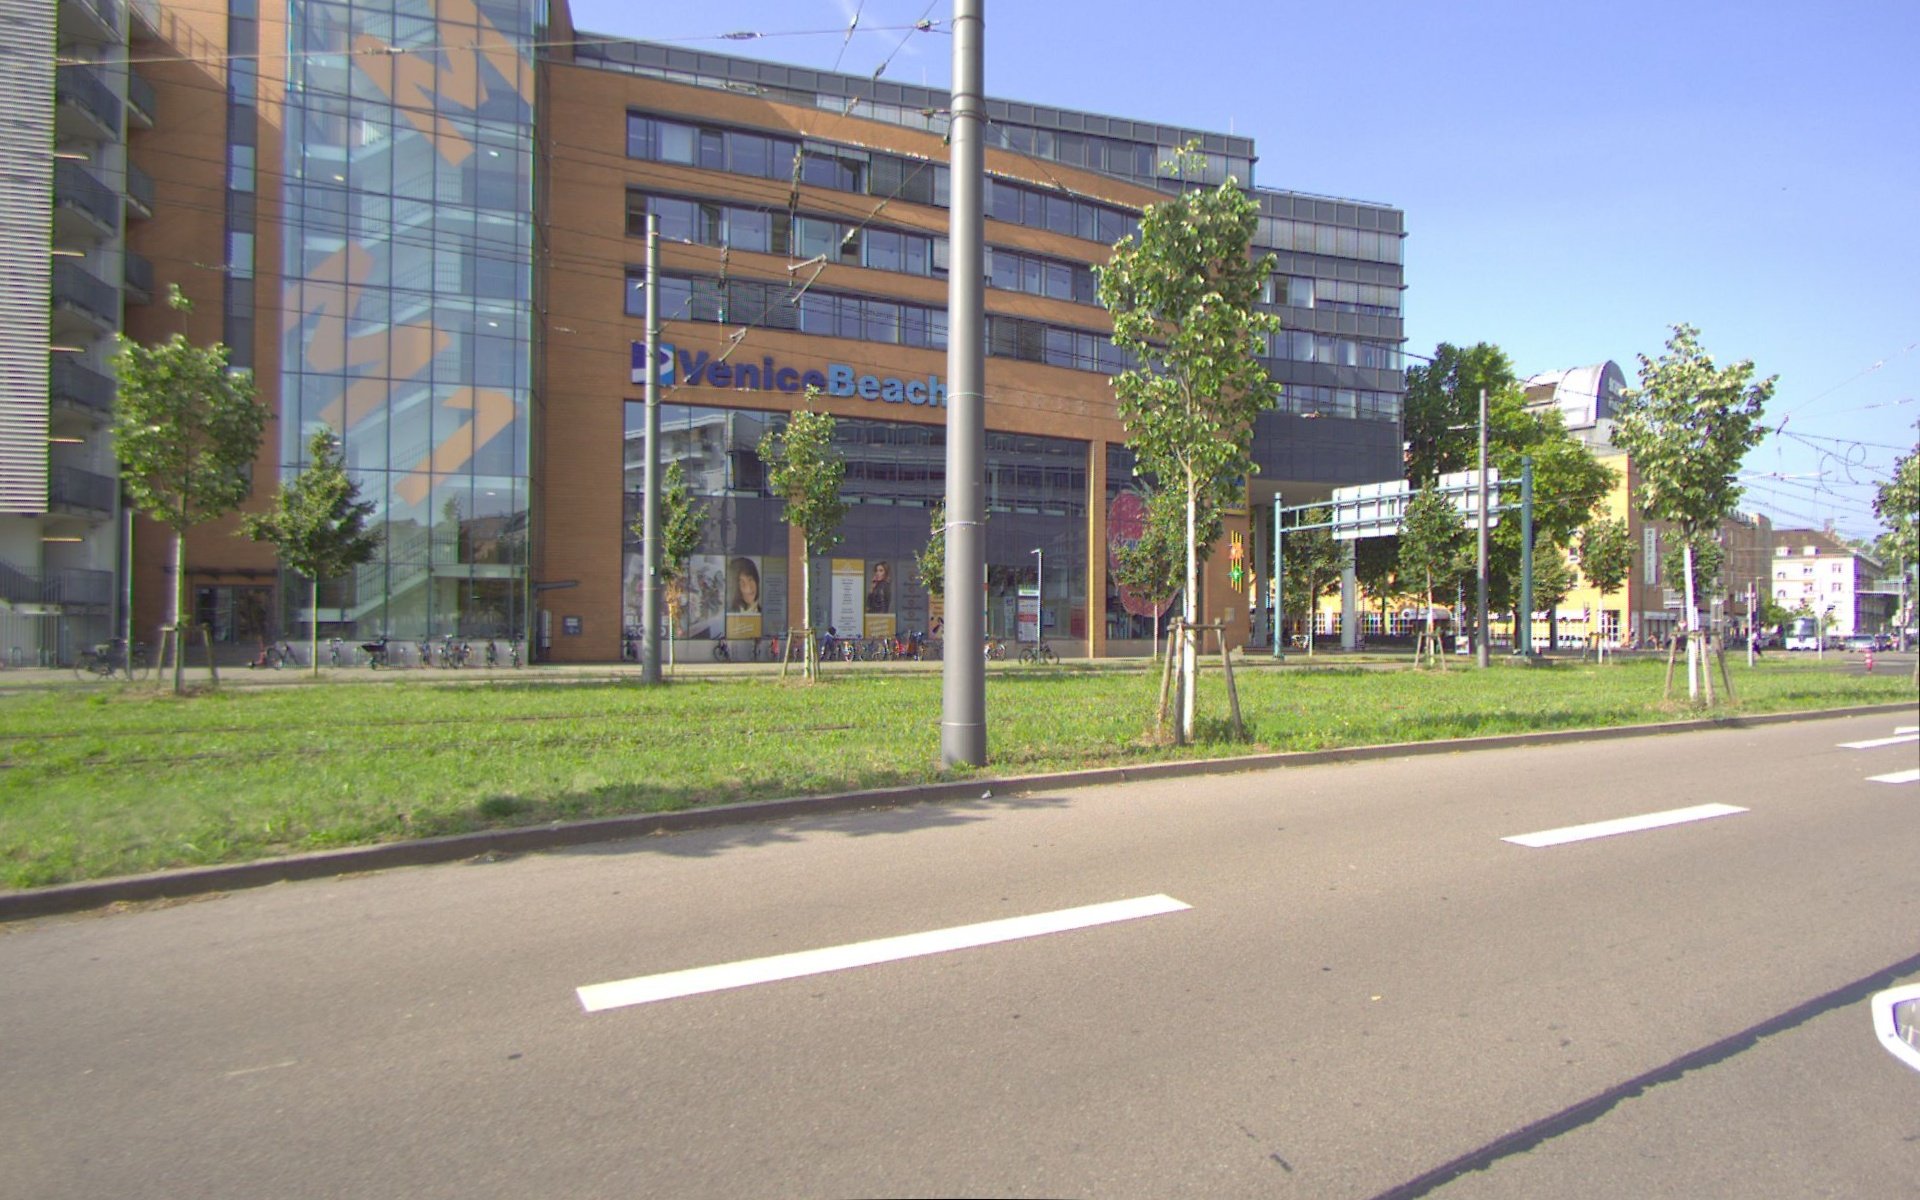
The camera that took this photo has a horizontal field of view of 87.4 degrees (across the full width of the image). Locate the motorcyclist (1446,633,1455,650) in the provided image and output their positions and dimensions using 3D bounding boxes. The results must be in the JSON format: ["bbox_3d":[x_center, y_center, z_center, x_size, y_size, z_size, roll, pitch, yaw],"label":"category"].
[{"bbox_3d":[39.310,3.327,80.471,0.415,1.339,0.526,1,-2,-40],"label":"motorcyclist"}]

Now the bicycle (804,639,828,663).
[{"bbox_3d":[-6.062,2.137,42.310,0.565,0.934,2.045,1,-1,-21],"label":"bicycle"}]

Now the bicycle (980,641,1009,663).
[{"bbox_3d":[1.576,2.370,45.702,0.565,0.934,2.045,1,-1,-21],"label":"bicycle"}]

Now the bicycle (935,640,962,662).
[{"bbox_3d":[-0.523,2.260,44.645,0.565,0.934,2.045,1,-1,-21],"label":"bicycle"}]

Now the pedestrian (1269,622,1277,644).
[{"bbox_3d":[29.184,3.109,93.678,0.535,2.040,0.485,3,-3,-40],"label":"pedestrian"}]

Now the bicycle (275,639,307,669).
[{"bbox_3d":[-22.019,1.768,33.069,0.404,0.952,1.578,1,-1,-17],"label":"bicycle"}]

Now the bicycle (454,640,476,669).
[{"bbox_3d":[-17.128,1.889,34.760,0.404,0.952,1.578,1,-1,-17],"label":"bicycle"}]

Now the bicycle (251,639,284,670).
[{"bbox_3d":[-22.613,1.759,32.824,0.404,0.952,1.578,1,-1,-17],"label":"bicycle"}]

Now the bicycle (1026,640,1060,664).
[{"bbox_3d":[3.376,2.098,40.908,0.699,0.919,1.672,2,-2,-21],"label":"bicycle"}]

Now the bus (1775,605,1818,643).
[{"bbox_3d":[91.955,2.658,110.356,2.718,3.973,12.142,-1,-2,44],"label":"bus"}]

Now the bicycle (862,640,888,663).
[{"bbox_3d":[-3.691,2.215,43.384,0.565,0.934,2.045,1,-1,-21],"label":"bicycle"}]

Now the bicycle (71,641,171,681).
[{"bbox_3d":[-22.601,1.638,27.091,2.123,1.001,0.445,2,-2,-7],"label":"bicycle"}]

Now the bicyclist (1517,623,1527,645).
[{"bbox_3d":[46.417,2.828,82.954,0.654,1.769,0.967,1,-2,24],"label":"bicyclist"}]

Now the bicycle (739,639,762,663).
[{"bbox_3d":[-8.608,2.071,41.223,0.565,0.934,2.045,1,-1,-21],"label":"bicycle"}]

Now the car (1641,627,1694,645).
[{"bbox_3d":[64.870,3.272,92.129,1.842,1.645,3.602,1,-2,-25],"label":"car"}]

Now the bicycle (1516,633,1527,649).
[{"bbox_3d":[46.401,3.383,82.955,0.539,1.222,2.287,1,-3,23],"label":"bicycle"}]

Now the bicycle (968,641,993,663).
[{"bbox_3d":[0.919,2.337,45.392,0.375,0.934,2.045,1,-1,-21],"label":"bicycle"}]

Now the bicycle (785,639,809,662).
[{"bbox_3d":[-6.828,2.099,41.992,0.565,0.934,2.045,1,-1,-21],"label":"bicycle"}]

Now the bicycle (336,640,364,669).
[{"bbox_3d":[-20.377,1.810,33.583,0.404,0.952,1.578,1,-1,-17],"label":"bicycle"}]

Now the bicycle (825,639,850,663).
[{"bbox_3d":[-5.225,2.159,42.654,0.565,0.934,2.045,1,-1,-21],"label":"bicycle"}]

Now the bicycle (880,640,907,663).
[{"bbox_3d":[-2.906,2.243,43.782,0.565,0.934,2.045,1,-1,-21],"label":"bicycle"}]

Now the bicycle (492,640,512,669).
[{"bbox_3d":[-15.887,1.879,34.882,0.404,0.952,1.578,1,-1,-17],"label":"bicycle"}]

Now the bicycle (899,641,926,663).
[{"bbox_3d":[-2.104,2.270,44.167,0.565,0.934,2.045,1,-1,-21],"label":"bicycle"}]

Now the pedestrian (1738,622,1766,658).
[{"bbox_3d":[45.436,2.310,57.637,0.770,2.040,1.145,3,-3,-41],"label":"pedestrian"}]

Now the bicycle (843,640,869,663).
[{"bbox_3d":[-4.470,2.182,43.048,0.565,0.934,2.045,1,-1,-21],"label":"bicycle"}]

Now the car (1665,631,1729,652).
[{"bbox_3d":[62.912,3.490,85.759,1.972,1.700,3.979,3,-3,-23],"label":"car"}]

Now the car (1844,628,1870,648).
[{"bbox_3d":[79.904,3.404,89.480,1.666,1.656,4.368,-2,-1,42],"label":"car"}]

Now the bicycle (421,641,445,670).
[{"bbox_3d":[-18.044,1.887,34.421,0.404,0.952,1.578,1,-1,-17],"label":"bicycle"}]

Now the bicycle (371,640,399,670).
[{"bbox_3d":[-19.317,1.841,33.768,0.465,0.952,1.578,1,-1,-17],"label":"bicycle"}]

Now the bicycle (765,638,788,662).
[{"bbox_3d":[-7.600,2.045,41.611,0.565,0.934,2.045,1,-1,-21],"label":"bicycle"}]

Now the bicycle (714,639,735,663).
[{"bbox_3d":[-9.550,2.053,40.747,0.565,0.934,2.045,1,-1,-21],"label":"bicycle"}]

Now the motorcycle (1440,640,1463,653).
[{"bbox_3d":[39.338,3.734,80.422,0.282,1.008,1.676,1,-2,-39],"label":"motorcycle"}]

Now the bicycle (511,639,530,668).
[{"bbox_3d":[-15.288,1.862,34.977,0.404,0.952,1.578,1,-1,-17],"label":"bicycle"}]

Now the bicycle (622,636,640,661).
[{"bbox_3d":[-12.929,1.901,39.451,0.565,0.934,2.045,1,-1,-21],"label":"bicycle"}]
